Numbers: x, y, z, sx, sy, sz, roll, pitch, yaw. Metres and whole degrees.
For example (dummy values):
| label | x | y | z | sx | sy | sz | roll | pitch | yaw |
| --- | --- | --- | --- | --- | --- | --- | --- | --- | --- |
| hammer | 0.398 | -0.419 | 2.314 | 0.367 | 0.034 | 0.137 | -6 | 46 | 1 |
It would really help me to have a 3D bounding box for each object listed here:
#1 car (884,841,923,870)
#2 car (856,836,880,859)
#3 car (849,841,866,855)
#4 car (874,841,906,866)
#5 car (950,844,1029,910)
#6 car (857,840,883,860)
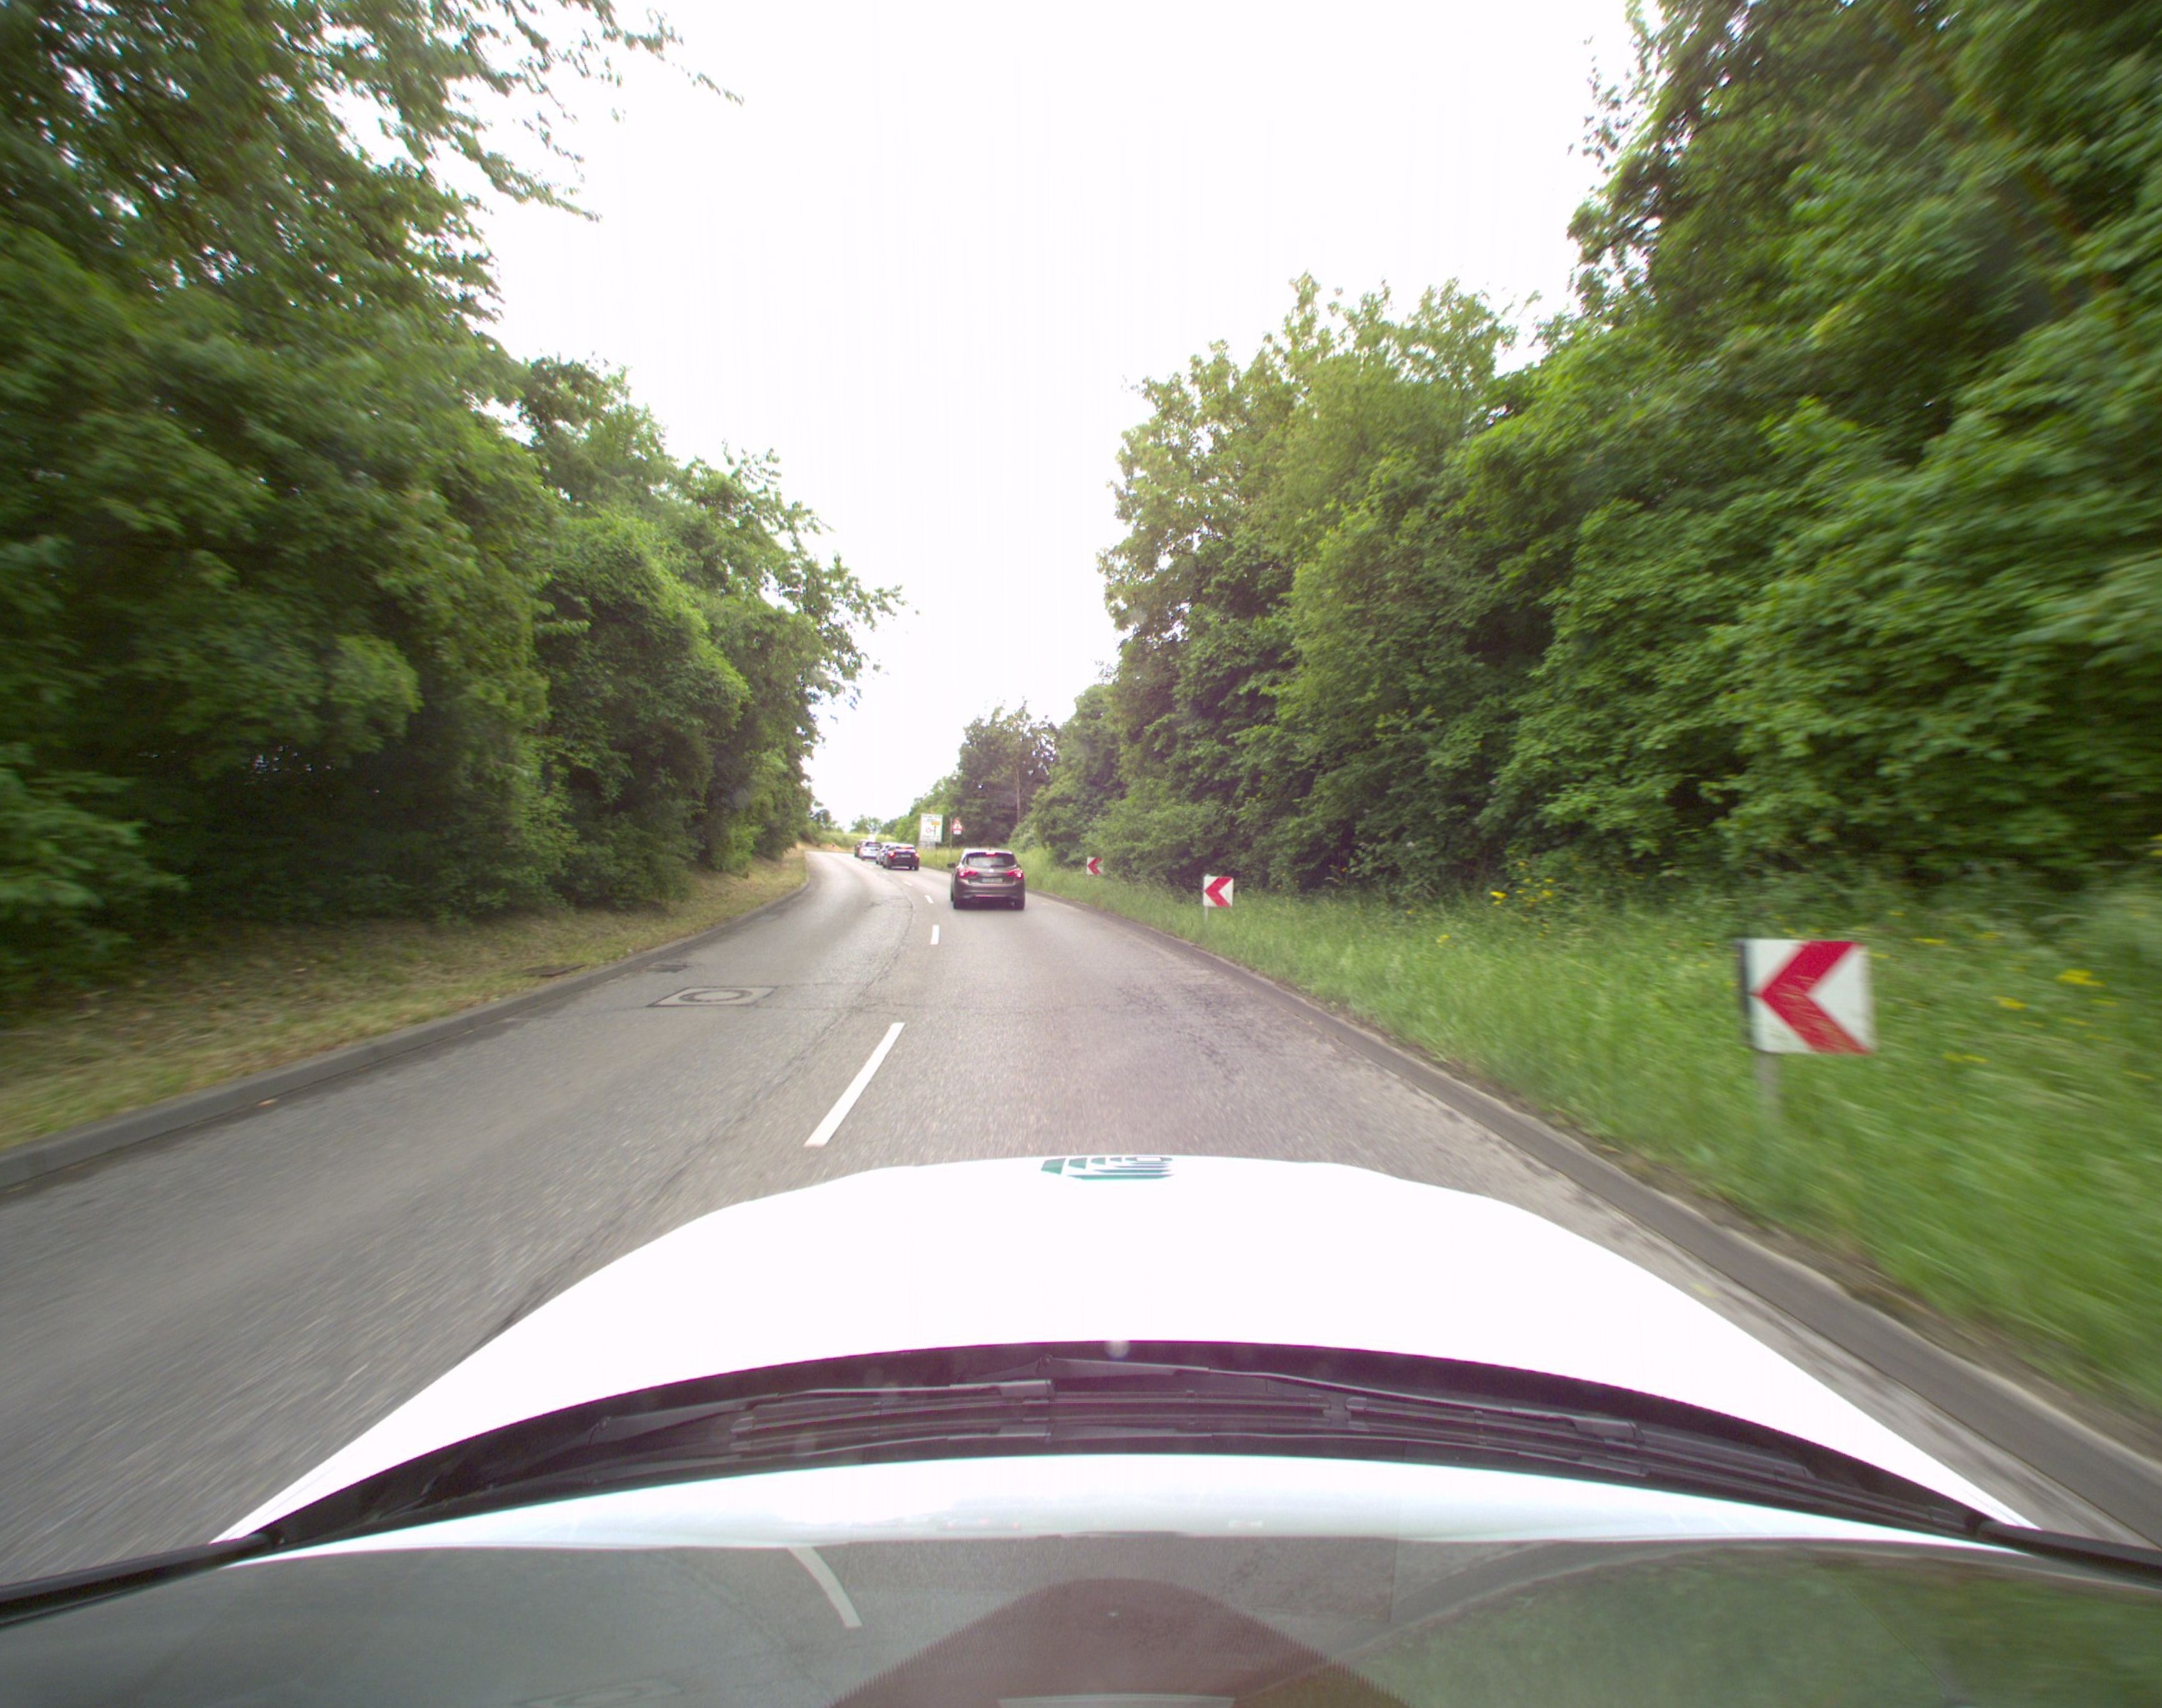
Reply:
| label | x | y | z | sx | sy | sz | roll | pitch | yaw |
| --- | --- | --- | --- | --- | --- | --- | --- | --- | --- |
| car | -10.249 | 0.077 | 46.853 | 1.835 | 1.556 | 3.602 | 1 | 1 | -18 |
| car | -18.558 | -0.548 | 70.838 | 1.741 | 1.934 | 3.522 | 1 | 1 | -18 |
| car | -24.511 | -0.682 | 89.388 | 1.739 | 1.526 | 3.624 | 1 | 1 | -14 |
| car | -12.757 | -0.051 | 54.246 | 1.741 | 1.556 | 3.522 | 1 | 1 | -18 |
| car | -2.478 | 0.546 | 21.394 | 1.830 | 1.556 | 3.487 | 1 | 1 | -10 |
| car | -16.547 | -0.323 | 63.807 | 1.741 | 1.556 | 3.522 | 1 | 1 | -18 |
